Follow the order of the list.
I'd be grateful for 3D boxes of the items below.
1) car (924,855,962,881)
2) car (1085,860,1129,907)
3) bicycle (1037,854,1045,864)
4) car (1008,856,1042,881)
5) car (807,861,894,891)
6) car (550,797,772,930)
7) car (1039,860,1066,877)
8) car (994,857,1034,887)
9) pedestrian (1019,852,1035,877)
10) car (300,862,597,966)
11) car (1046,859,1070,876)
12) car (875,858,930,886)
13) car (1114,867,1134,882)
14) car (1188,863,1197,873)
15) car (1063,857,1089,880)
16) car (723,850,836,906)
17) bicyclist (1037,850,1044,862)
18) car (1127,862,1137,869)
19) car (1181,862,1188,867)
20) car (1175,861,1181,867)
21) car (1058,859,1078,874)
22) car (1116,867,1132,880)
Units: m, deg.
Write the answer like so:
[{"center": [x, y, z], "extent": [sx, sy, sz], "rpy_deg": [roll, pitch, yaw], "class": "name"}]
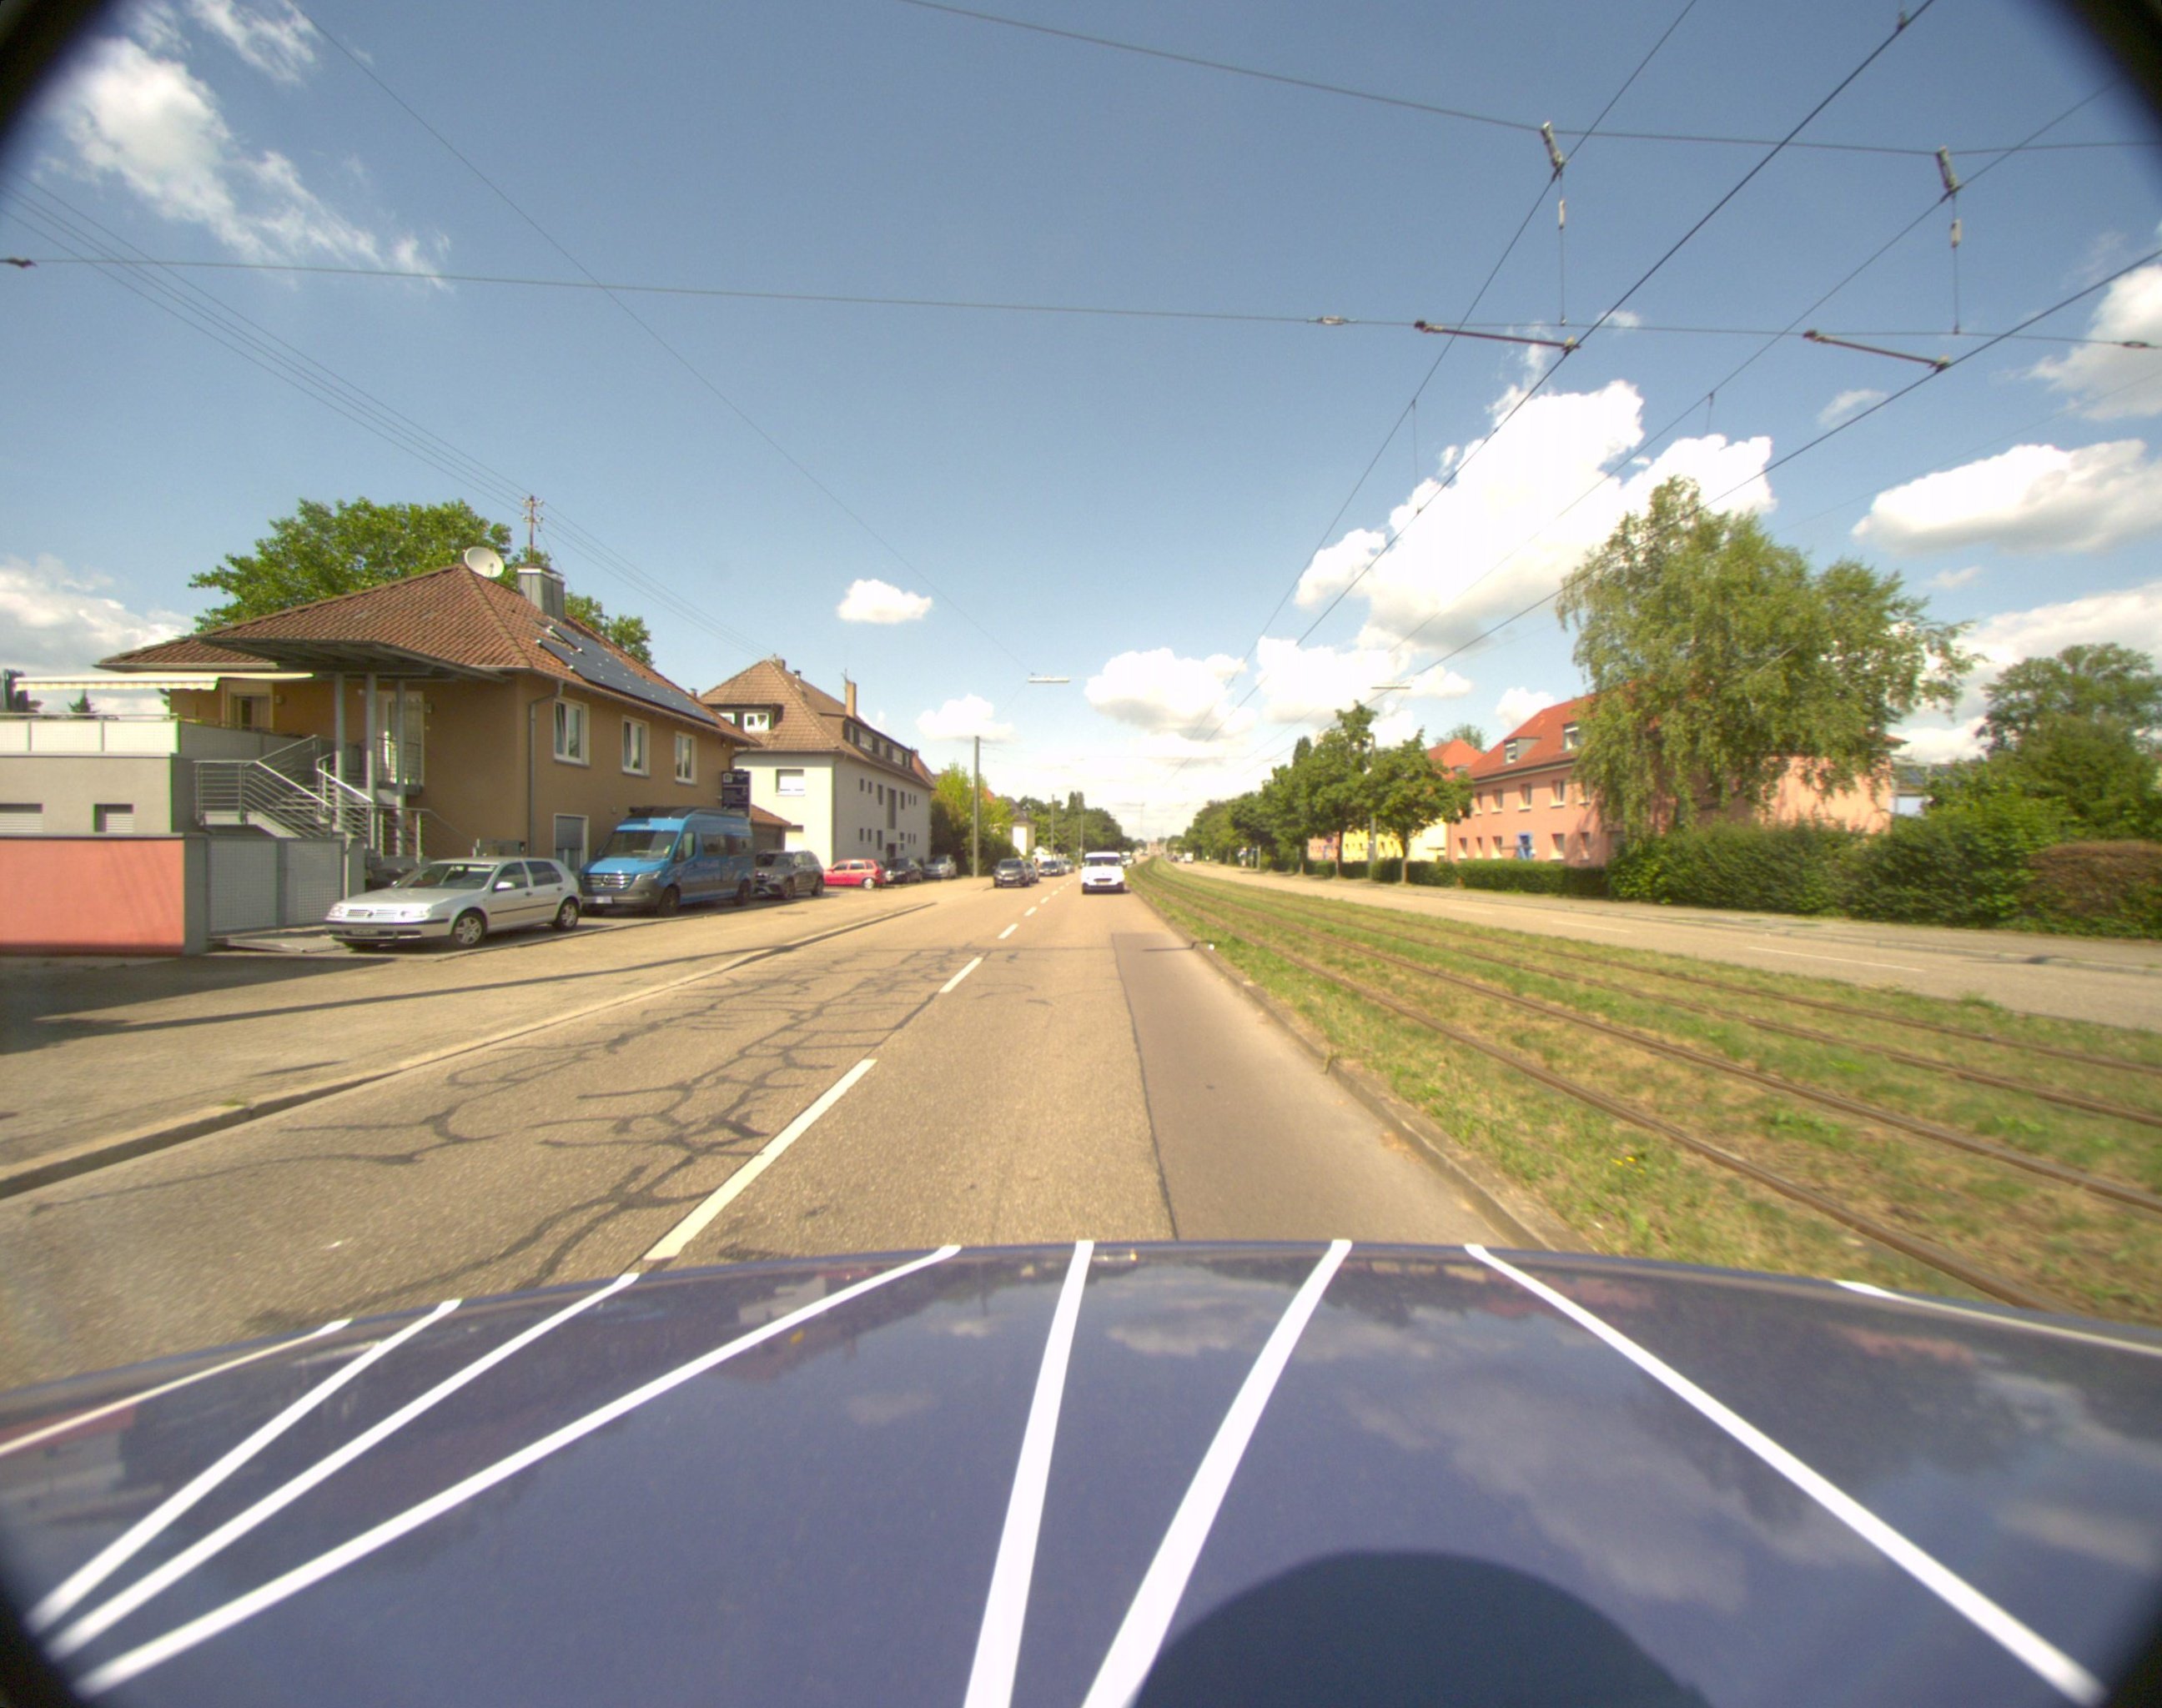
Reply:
[{"center": [-9.402, 0.928, 52.249], "extent": [1.761, 1.637, 4.768], "rpy_deg": [1, 0, 0], "class": "car"}, {"center": [1.071, 1.226, 33.319], "extent": [1.777, 1.850, 4.375], "rpy_deg": [-1, 0, 0], "class": "car"}, {"center": [-4.546, 0.553, 86.010], "extent": [0.555, 1.059, 1.525], "rpy_deg": [1, 0, 12], "class": "bicycle"}, {"center": [-3.573, 0.897, 49.225], "extent": [1.819, 1.445, 4.642], "rpy_deg": [-1, 0, -1], "class": "car"}, {"center": [-11.039, 1.037, 36.540], "extent": [3.658, 1.372, 1.726], "rpy_deg": [0, 1, 0], "class": "car"}, {"center": [-10.598, 0.192, 20.010], "extent": [2.157, 2.913, 6.244], "rpy_deg": [-1, 0, 2], "class": "car"}, {"center": [-2.477, 1.286, 67.920], "extent": [1.904, 1.435, 5.059], "rpy_deg": [-1, 0, 3], "class": "car"}, {"center": [-3.668, 0.974, 42.452], "extent": [1.812, 1.550, 4.253], "rpy_deg": [-1, 0, 0], "class": "car"}, {"center": [-4.216, 0.784, 59.353], "extent": [1.114, 1.934, 1.092], "rpy_deg": [0, 1, 4], "class": "pedestrian"}, {"center": [-10.479, 0.891, 13.113], "extent": [1.653, 1.401, 4.349], "rpy_deg": [1, 0, -3], "class": "car"}, {"center": [-2.215, 1.300, 73.353], "extent": [1.894, 1.447, 5.007], "rpy_deg": [-1, 0, 3], "class": "car"}, {"center": [-9.850, 0.974, 42.293], "extent": [1.803, 1.415, 4.858], "rpy_deg": [1, 0, 2], "class": "car"}, {"center": [4.564, 2.123, 80.213], "extent": [1.998, 1.477, 4.001], "rpy_deg": [-1, 0, 4], "class": "car"}, {"center": [28.341, 3.529, 193.443], "extent": [2.036, 2.422, 5.780], "rpy_deg": [2, 0, 5], "class": "car"}, {"center": [-0.343, 1.021, 55.082], "extent": [1.777, 1.540, 4.000], "rpy_deg": [-1, 0, -1], "class": "car"}, {"center": [-10.246, 0.775, 26.258], "extent": [1.841, 1.701, 4.864], "rpy_deg": [2, 0, 1], "class": "car"}, {"center": [-4.567, 0.201, 85.827], "extent": [0.689, 1.345, 0.666], "rpy_deg": [1, 0, 12], "class": "bicyclist"}, {"center": [10.399, 2.323, 154.339], "extent": [1.998, 1.477, 4.001], "rpy_deg": [-1, 0, 4], "class": "car"}, {"center": [31.099, 3.182, 228.148], "extent": [1.689, 1.422, 4.278], "rpy_deg": [1, 0, 5], "class": "car"}, {"center": [27.760, 2.960, 217.977], "extent": [1.689, 1.736, 4.229], "rpy_deg": [1, 0, 5], "class": "car"}, {"center": [-1.380, 1.333, 82.657], "extent": [1.740, 1.481, 4.096], "rpy_deg": [-1, 0, 6], "class": "car"}, {"center": [5.745, 2.556, 101.294], "extent": [1.998, 1.576, 4.001], "rpy_deg": [-1, 0, 5], "class": "car"}]
